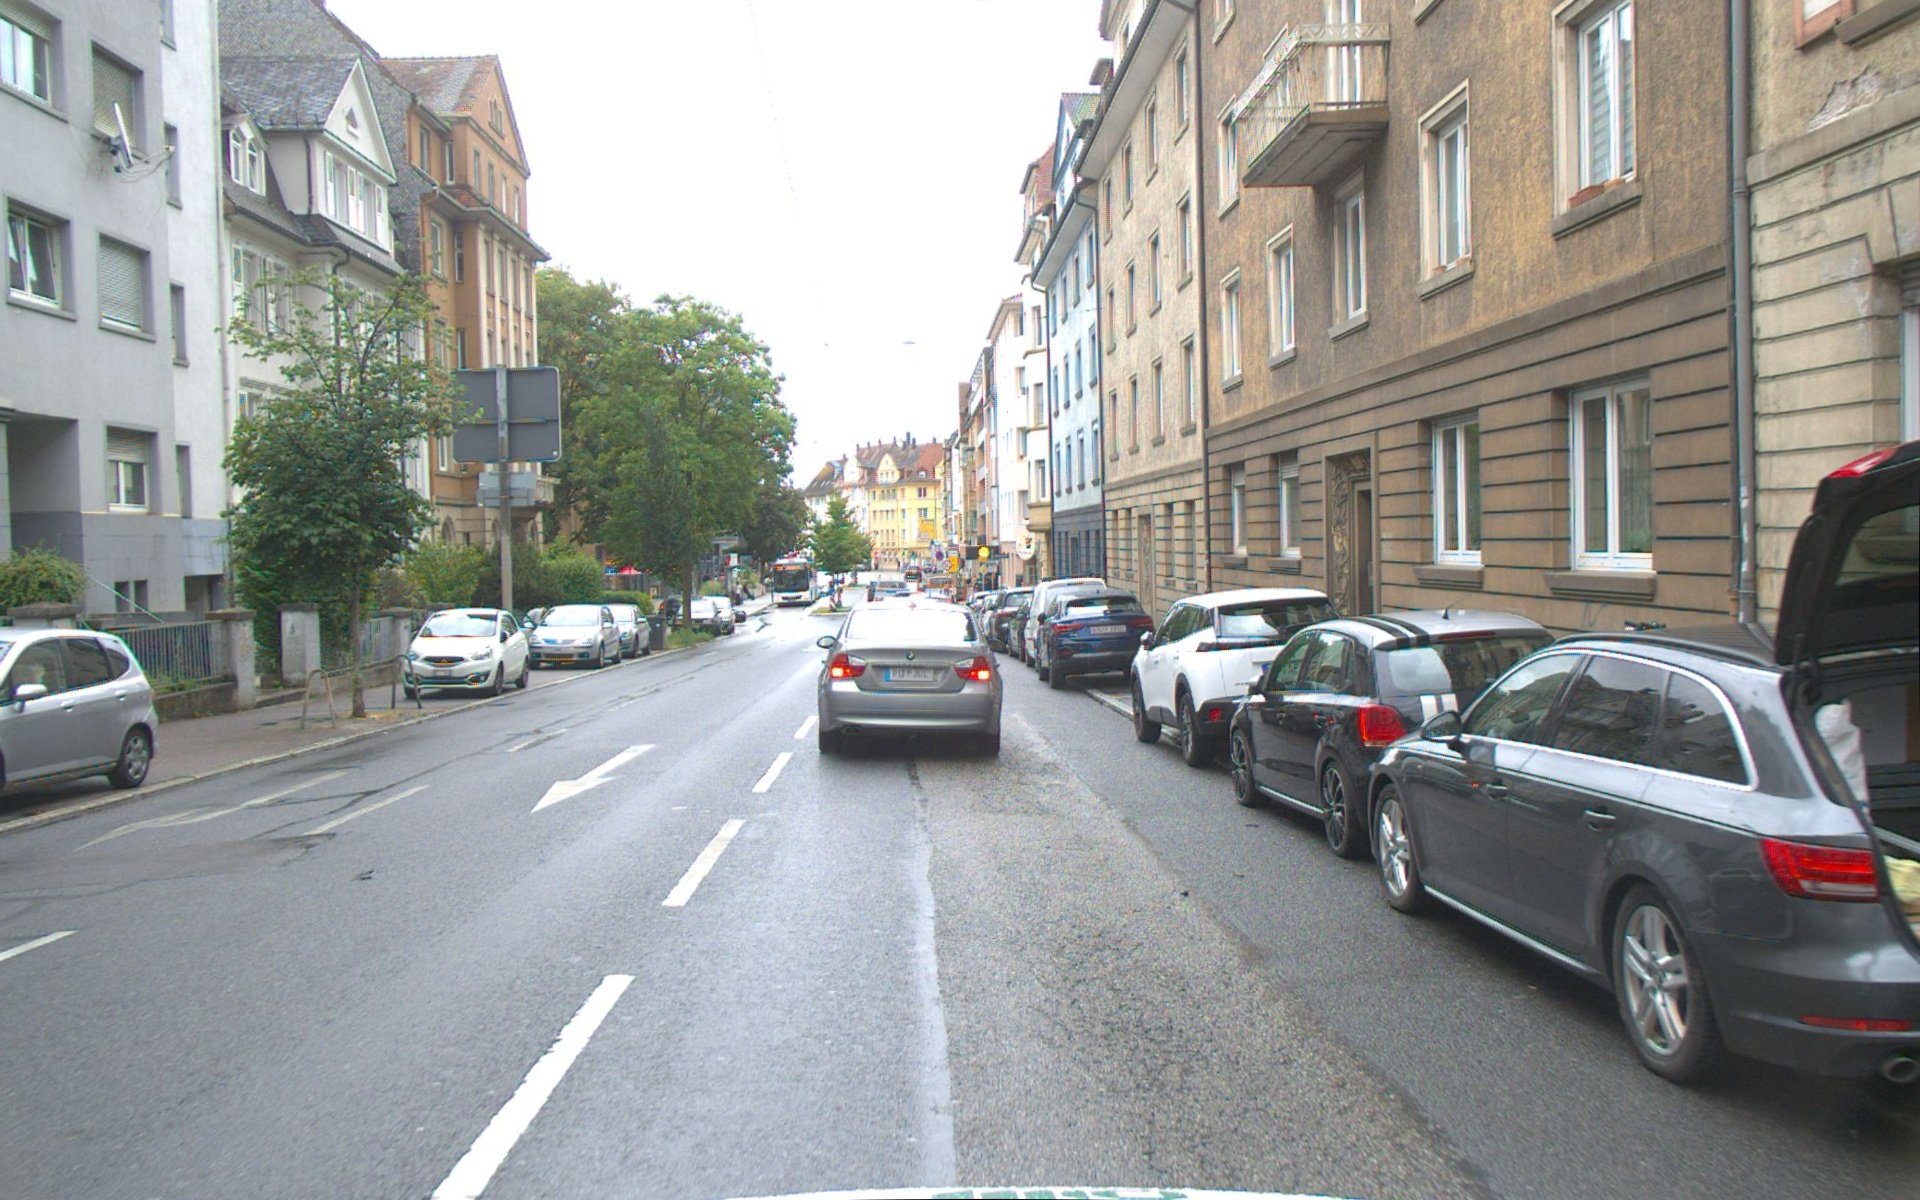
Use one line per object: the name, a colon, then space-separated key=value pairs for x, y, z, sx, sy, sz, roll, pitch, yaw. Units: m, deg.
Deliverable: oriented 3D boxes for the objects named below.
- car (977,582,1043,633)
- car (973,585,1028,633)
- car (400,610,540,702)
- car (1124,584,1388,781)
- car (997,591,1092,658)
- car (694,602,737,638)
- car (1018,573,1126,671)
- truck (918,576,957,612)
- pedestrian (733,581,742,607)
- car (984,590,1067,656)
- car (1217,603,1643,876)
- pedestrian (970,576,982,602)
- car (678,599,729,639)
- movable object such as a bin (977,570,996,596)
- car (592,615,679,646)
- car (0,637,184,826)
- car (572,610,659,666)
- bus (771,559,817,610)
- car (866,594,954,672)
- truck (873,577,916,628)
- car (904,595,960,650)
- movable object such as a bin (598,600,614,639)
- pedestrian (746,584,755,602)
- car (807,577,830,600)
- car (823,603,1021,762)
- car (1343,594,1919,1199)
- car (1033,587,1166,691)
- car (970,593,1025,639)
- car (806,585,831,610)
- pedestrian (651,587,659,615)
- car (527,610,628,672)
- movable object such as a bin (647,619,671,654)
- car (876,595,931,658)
car: x=1.542 y=0.218 z=51.993 sx=1.695 sy=1.454 sz=3.972 roll=-4 pitch=0 yaw=-2
car: x=1.359 y=0.290 z=56.340 sx=1.551 sy=1.454 sz=3.593 roll=-4 pitch=0 yaw=-2
car: x=-8.812 y=0.972 z=30.018 sx=1.613 sy=1.534 sz=3.793 roll=-1 pitch=-1 yaw=-4
car: x=2.792 y=0.727 z=16.512 sx=1.600 sy=1.667 sz=4.192 roll=2 pitch=0 yaw=-4
car: x=1.997 y=0.569 z=40.307 sx=1.804 sy=1.433 sz=4.385 roll=-3 pitch=0 yaw=-3
car: x=-10.325 y=0.825 z=69.911 sx=1.600 sy=1.479 sz=3.835 roll=-1 pitch=0 yaw=-6
car: x=2.295 y=0.426 z=34.794 sx=1.755 sy=1.849 sz=4.078 roll=-3 pitch=0 yaw=-2
truck: x=-1.462 y=-0.344 z=106.080 sx=2.172 sy=2.153 sz=4.648 roll=3 pitch=0 yaw=-4
pedestrian: x=-15.202 y=-0.408 z=113.052 sx=0.533 sy=1.739 sz=0.465 roll=2 pitch=-1 yaw=-9
car: x=1.738 y=0.614 z=45.148 sx=1.804 sy=1.649 sz=4.205 roll=-2 pitch=0 yaw=-3
car: x=2.968 y=0.802 z=11.249 sx=1.600 sy=1.504 sz=3.732 roll=2 pitch=0 yaw=-4
pedestrian: x=1.072 y=-0.730 z=111.595 sx=0.734 sy=1.690 sz=0.755 roll=2 pitch=-1 yaw=3
car: x=-10.113 y=0.716 z=65.428 sx=1.621 sy=1.479 sz=3.939 roll=-1 pitch=0 yaw=-4
movable object such as a bin: x=1.828 y=-1.174 z=113.133 sx=1.100 sy=1.732 sz=1.432 roll=-2 pitch=-1 yaw=-5
car: x=-15.107 y=1.419 z=77.037 sx=3.740 sy=1.414 sz=1.741 roll=0 pitch=-1 yaw=-3
car: x=-8.447 y=1.093 z=14.295 sx=1.567 sy=1.476 sz=3.888 roll=-1 pitch=-1 yaw=1
car: x=-9.553 y=1.024 z=46.159 sx=1.649 sy=1.414 sz=3.934 roll=-2 pitch=0 yaw=-2
bus: x=-11.841 y=-1.019 z=118.985 sx=2.628 sy=3.257 sz=11.947 roll=2 pitch=-1 yaw=-3
car: x=-1.042 y=0.651 z=33.126 sx=1.570 sy=1.445 sz=3.284 roll=2 pitch=-1 yaw=-5
truck: x=-3.554 y=0.165 z=89.469 sx=2.172 sy=2.589 sz=4.776 roll=2 pitch=-1 yaw=-3
car: x=-0.744 y=0.600 z=44.309 sx=1.406 sy=1.380 sz=3.761 roll=2 pitch=-1 yaw=-1
movable object such as a bin: x=-12.315 y=0.686 z=57.513 sx=0.431 sy=1.331 sz=0.649 roll=-1 pitch=0 yaw=-3
pedestrian: x=-16.294 y=-0.545 z=128.778 sx=0.607 sy=1.402 sz=0.544 roll=2 pitch=-1 yaw=-1
car: x=-13.278 y=-1.082 z=155.285 sx=1.954 sy=2.049 sz=3.997 roll=2 pitch=-1 yaw=-3
car: x=-0.394 y=0.749 z=16.083 sx=1.720 sy=1.386 sz=3.163 roll=0 pitch=-1 yaw=-2
car: x=3.032 y=0.750 z=6.447 sx=1.742 sy=1.505 sz=4.584 roll=-1 pitch=-1 yaw=-3
car: x=2.318 y=0.612 z=28.463 sx=1.754 sy=1.575 sz=4.224 roll=-3 pitch=0 yaw=-2
car: x=1.388 y=0.594 z=62.706 sx=1.781 sy=1.585 sz=4.291 roll=-3 pitch=0 yaw=-2
car: x=-11.928 y=-0.180 z=139.775 sx=1.954 sy=2.049 sz=3.997 roll=1 pitch=-1 yaw=-3
pedestrian: x=-19.627 y=0.063 z=106.498 sx=0.456 sy=1.821 sz=0.543 roll=2 pitch=-1 yaw=-9
car: x=-9.233 y=0.966 z=40.206 sx=1.649 sy=1.414 sz=3.908 roll=0 pitch=0 yaw=-2
movable object such as a bin: x=-9.327 y=1.127 z=51.299 sx=0.617 sy=1.076 sz=0.600 roll=-1 pitch=-1 yaw=-2
car: x=-1.998 y=0.921 z=57.345 sx=1.671 sy=2.049 sz=3.996 roll=2 pitch=-1 yaw=-4
